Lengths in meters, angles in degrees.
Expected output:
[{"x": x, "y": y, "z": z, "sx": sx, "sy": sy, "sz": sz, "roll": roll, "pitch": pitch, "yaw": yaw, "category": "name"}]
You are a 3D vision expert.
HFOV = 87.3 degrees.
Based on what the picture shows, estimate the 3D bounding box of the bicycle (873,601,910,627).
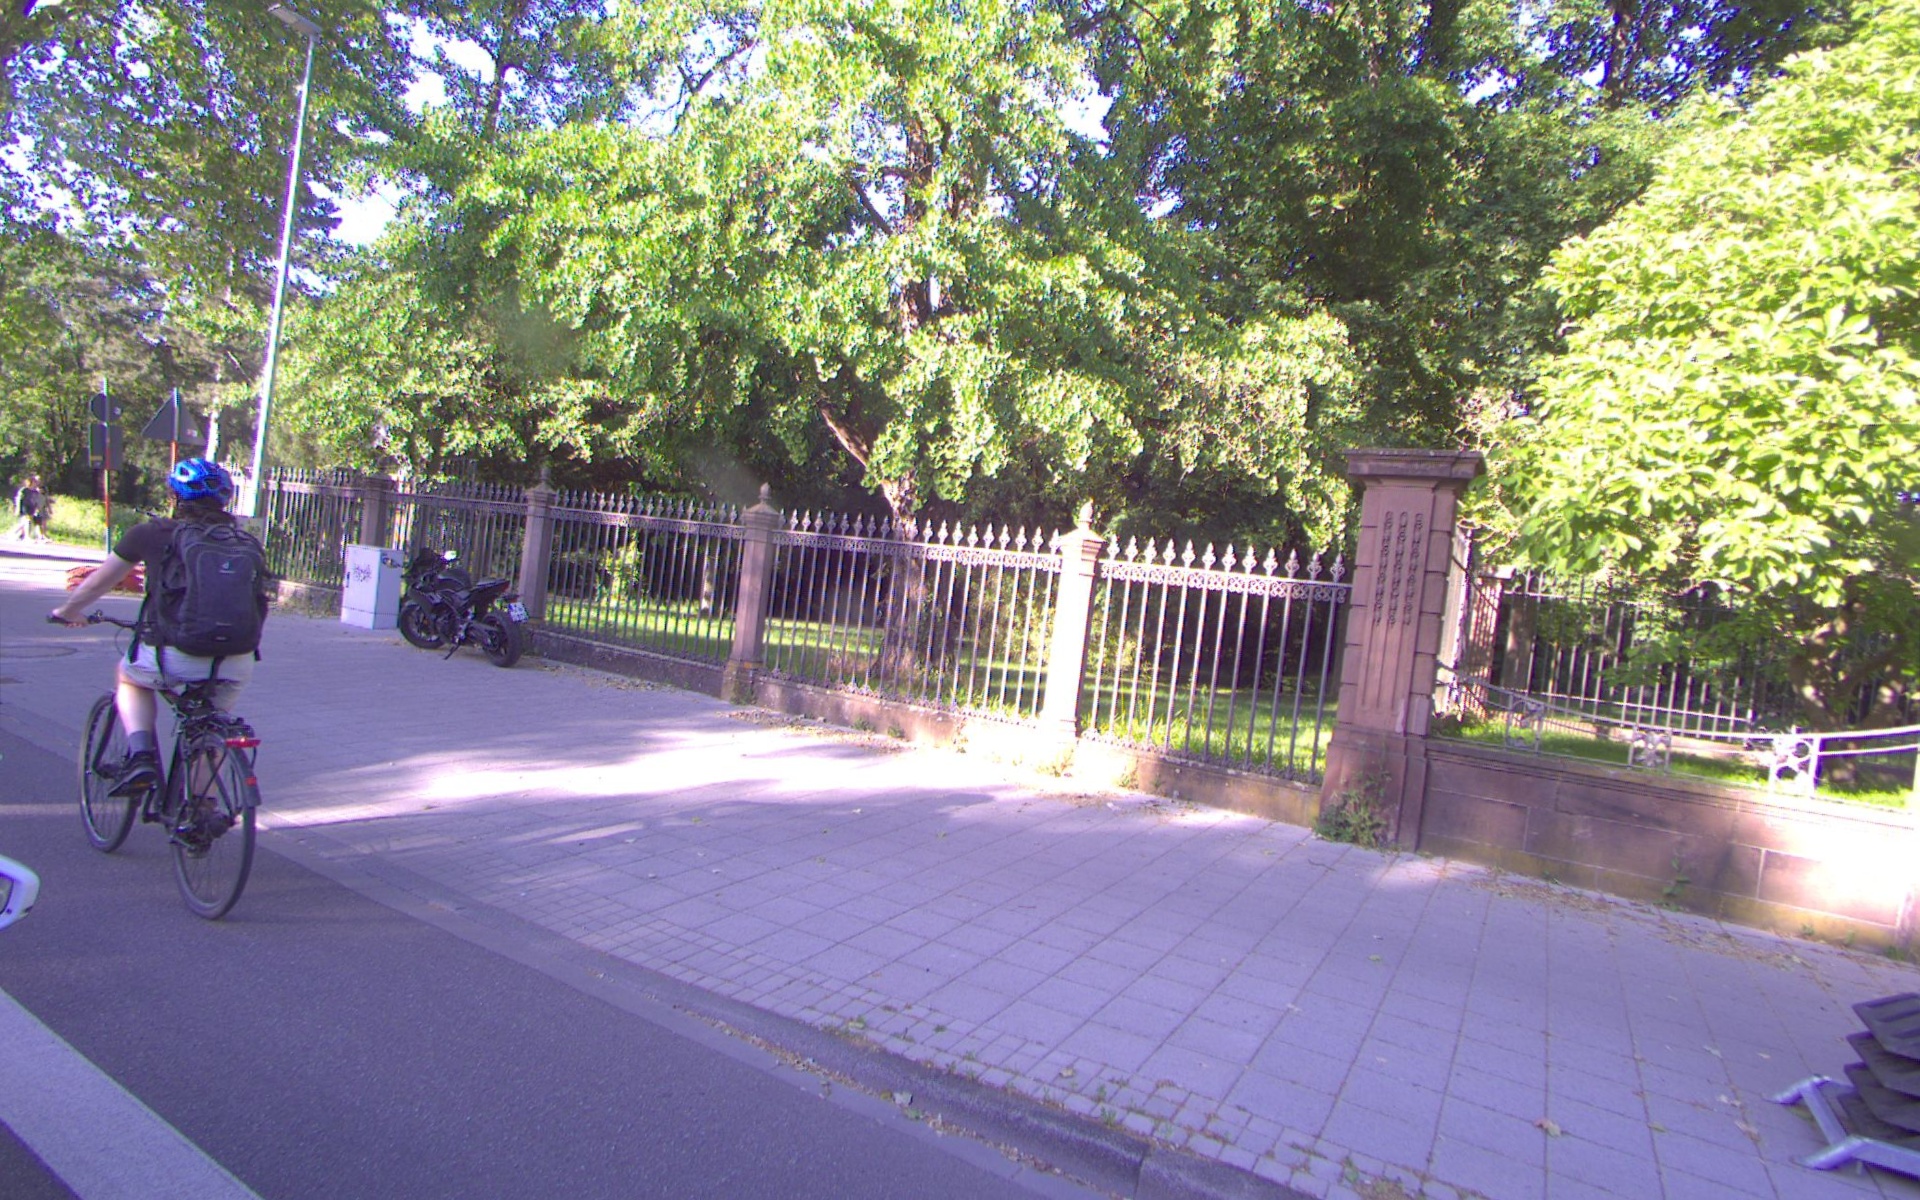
[{"x": -3.275, "y": 0.655, "z": 48.122, "sx": 1.594, "sy": 1.027, "sz": 0.474, "roll": 7, "pitch": -1, "yaw": -9, "category": "bicycle"}]

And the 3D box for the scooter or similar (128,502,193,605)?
[{"x": -11.300, "y": -0.671, "z": 14.208, "sx": 1.152, "sy": 1.344, "sz": 0.228, "roll": 7, "pitch": 2, "yaw": 30, "category": "scooter or similar"}]

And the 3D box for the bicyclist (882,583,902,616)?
[{"x": -3.245, "y": -0.009, "z": 48.049, "sx": 0.771, "sy": 1.448, "sz": 0.665, "roll": 7, "pitch": 0, "yaw": -8, "category": "bicyclist"}]

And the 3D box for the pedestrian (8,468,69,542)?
[{"x": -24.236, "y": -2.492, "z": 26.472, "sx": 0.817, "sy": 1.794, "sz": 0.819, "roll": 7, "pitch": 1, "yaw": 25, "category": "pedestrian"}]

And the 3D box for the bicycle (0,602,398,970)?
[{"x": -3.307, "y": 0.650, "z": 4.166, "sx": 2.046, "sy": 1.021, "sz": 0.670, "roll": 7, "pitch": -1, "yaw": 30, "category": "bicycle"}]

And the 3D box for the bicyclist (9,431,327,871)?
[{"x": -3.275, "y": 0.190, "z": 4.183, "sx": 0.709, "sy": 1.621, "sz": 0.666, "roll": 7, "pitch": -1, "yaw": 30, "category": "bicyclist"}]

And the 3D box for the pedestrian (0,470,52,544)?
[{"x": -23.464, "y": -2.333, "z": 25.246, "sx": 0.632, "sy": 1.721, "sz": 0.690, "roll": 7, "pitch": 2, "yaw": 25, "category": "pedestrian"}]

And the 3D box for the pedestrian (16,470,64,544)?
[{"x": -23.743, "y": -2.399, "z": 25.964, "sx": 0.635, "sy": 1.794, "sz": 0.617, "roll": 7, "pitch": 2, "yaw": 25, "category": "pedestrian"}]

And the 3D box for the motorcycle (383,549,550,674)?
[{"x": -5.509, "y": 0.100, "z": 11.172, "sx": 2.134, "sy": 1.146, "sz": 0.506, "roll": 7, "pitch": 2, "yaw": 30, "category": "motorcycle"}]
